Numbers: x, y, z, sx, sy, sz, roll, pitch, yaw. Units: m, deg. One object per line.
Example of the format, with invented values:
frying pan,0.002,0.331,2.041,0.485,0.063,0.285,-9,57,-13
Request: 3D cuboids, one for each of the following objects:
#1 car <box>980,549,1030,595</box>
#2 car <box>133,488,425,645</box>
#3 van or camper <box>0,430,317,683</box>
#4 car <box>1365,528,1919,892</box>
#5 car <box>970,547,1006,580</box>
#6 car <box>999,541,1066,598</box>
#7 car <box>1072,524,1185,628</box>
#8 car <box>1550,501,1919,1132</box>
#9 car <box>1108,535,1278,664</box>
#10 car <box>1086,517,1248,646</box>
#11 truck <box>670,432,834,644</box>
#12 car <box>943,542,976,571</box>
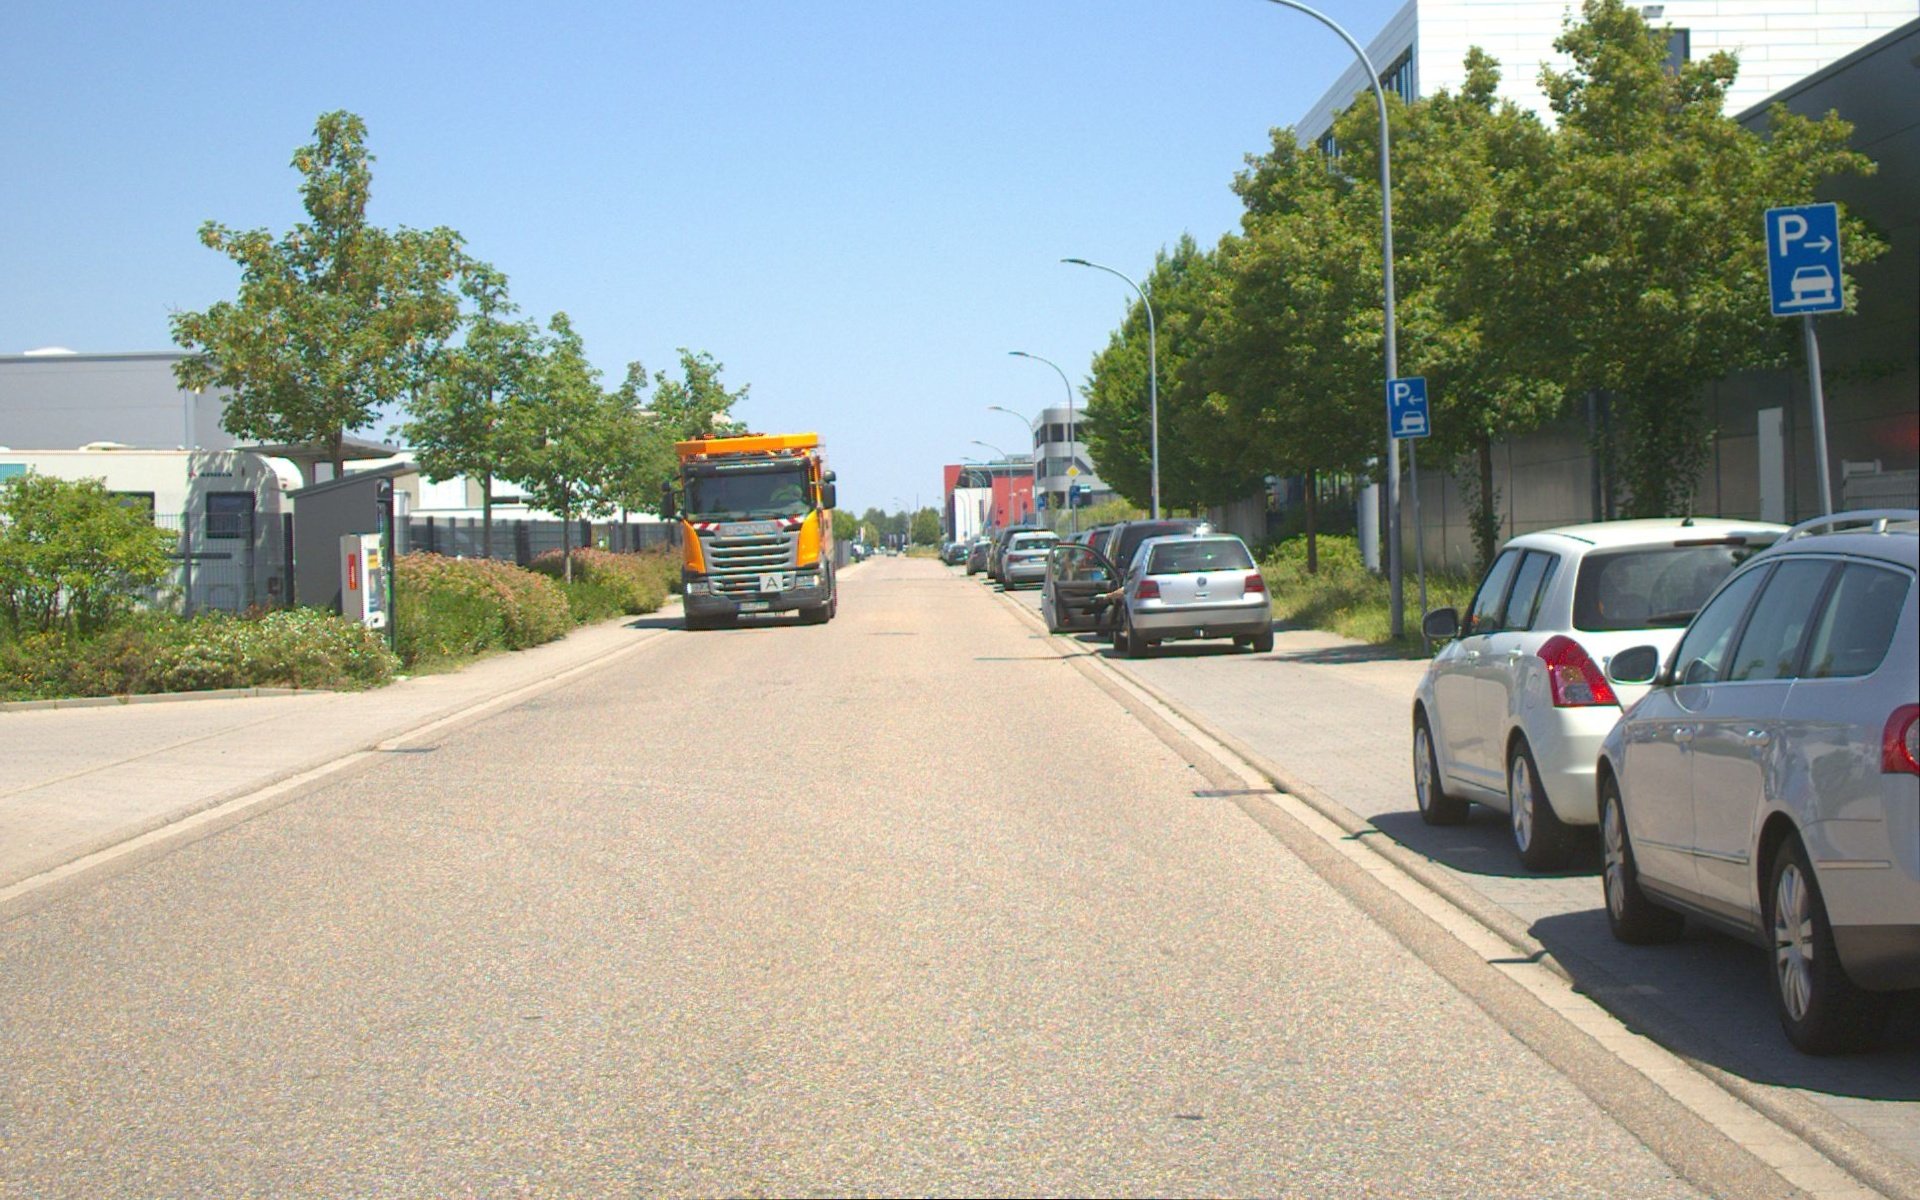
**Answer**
car,1.460,-0.928,111.995,1.495,1.405,3.500,-1,1,-1
car,-11.815,-0.594,59.923,4.714,2.577,2.000,-2,1,-4
van or camper,-12.136,-0.506,43.610,7.384,3.027,2.790,-1,1,-1
car,3.092,0.427,16.322,1.636,1.464,3.746,-2,1,-3
car,1.220,-1.623,153.139,1.495,1.405,3.500,-1,1,-1
car,1.862,-0.798,88.808,1.585,1.405,3.500,-1,1,-1
car,2.890,-0.437,59.561,1.721,1.688,3.984,-1,1,0
car,3.131,0.491,10.751,1.748,1.556,4.506,-2,0,0
car,2.789,-0.028,41.797,1.718,1.445,3.646,-2,1,-1
car,2.840,-0.287,47.911,1.678,1.680,4.001,-1,1,-5
truck,-3.681,-1.150,62.528,2.448,3.501,8.273,-3,1,-1
car,-0.030,-2.138,168.940,1.495,1.405,3.500,-1,1,-1
